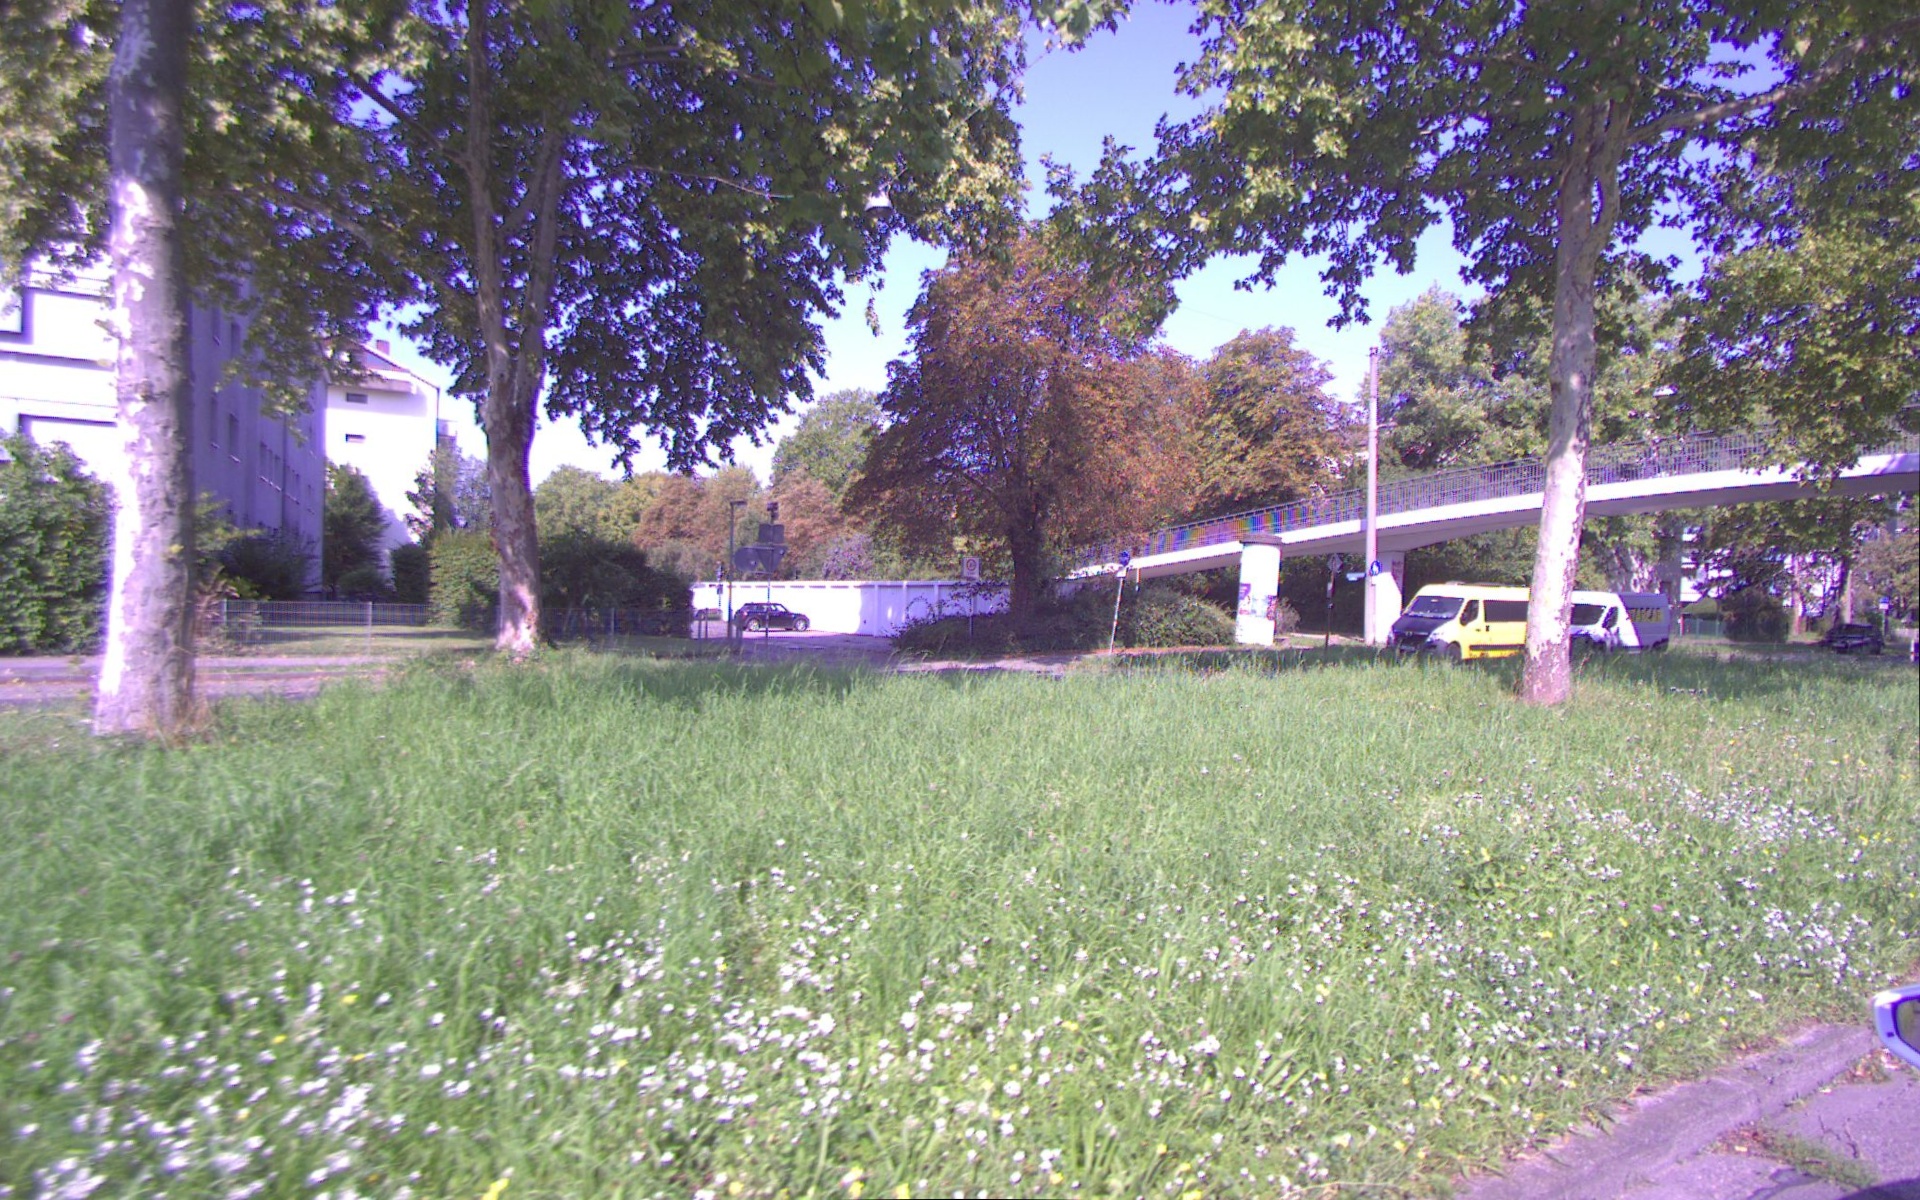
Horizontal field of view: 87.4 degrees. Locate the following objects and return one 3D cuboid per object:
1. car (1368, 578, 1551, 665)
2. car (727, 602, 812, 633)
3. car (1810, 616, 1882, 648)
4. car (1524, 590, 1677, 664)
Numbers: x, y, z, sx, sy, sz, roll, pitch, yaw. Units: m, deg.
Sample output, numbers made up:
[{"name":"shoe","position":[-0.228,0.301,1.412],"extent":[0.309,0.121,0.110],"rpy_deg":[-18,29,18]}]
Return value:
[{"name":"car","position":[15.806,0.693,31.698],"extent":[5.989,2.512,2.197],"rpy_deg":[2,0,-30]},{"name":"car","position":[-9.638,0.883,50.836],"extent":[3.879,1.486,1.688],"rpy_deg":[1,0,-30]},{"name":"car","position":[44.520,1.606,50.453],"extent":[3.816,1.553,1.516],"rpy_deg":[2,0,-29]},{"name":"car","position":[23.197,0.983,36.288],"extent":[6.196,2.462,2.196],"rpy_deg":[2,0,-32]}]
